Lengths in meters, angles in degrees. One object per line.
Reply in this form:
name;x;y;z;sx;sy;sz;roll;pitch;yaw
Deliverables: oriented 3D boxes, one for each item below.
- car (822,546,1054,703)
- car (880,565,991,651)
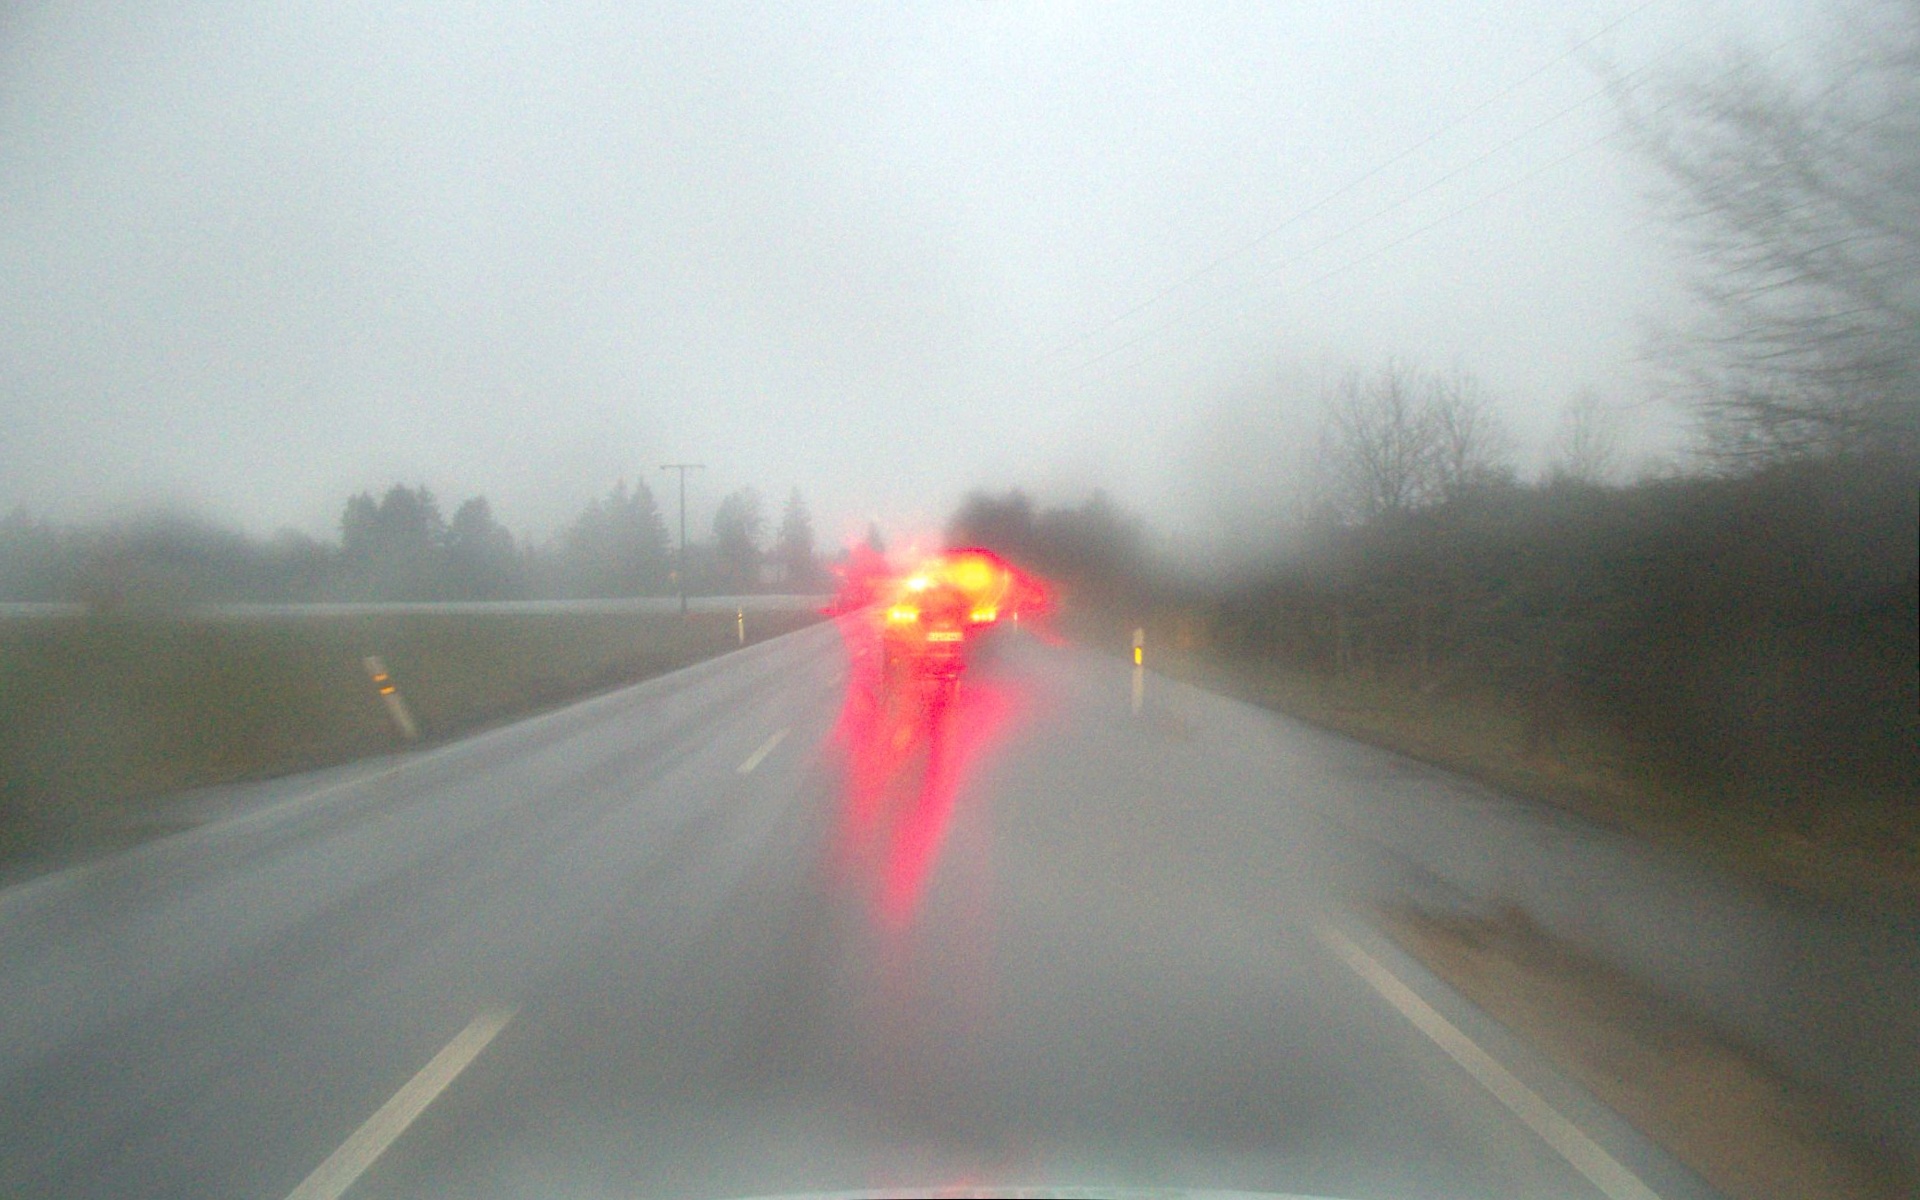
car;-0.325;0.288;25.763;3.100;2.071;6.851;-1;1;-1
car;-0.632;0.166;43.886;2.700;2.071;6.590;-1;1;-1
